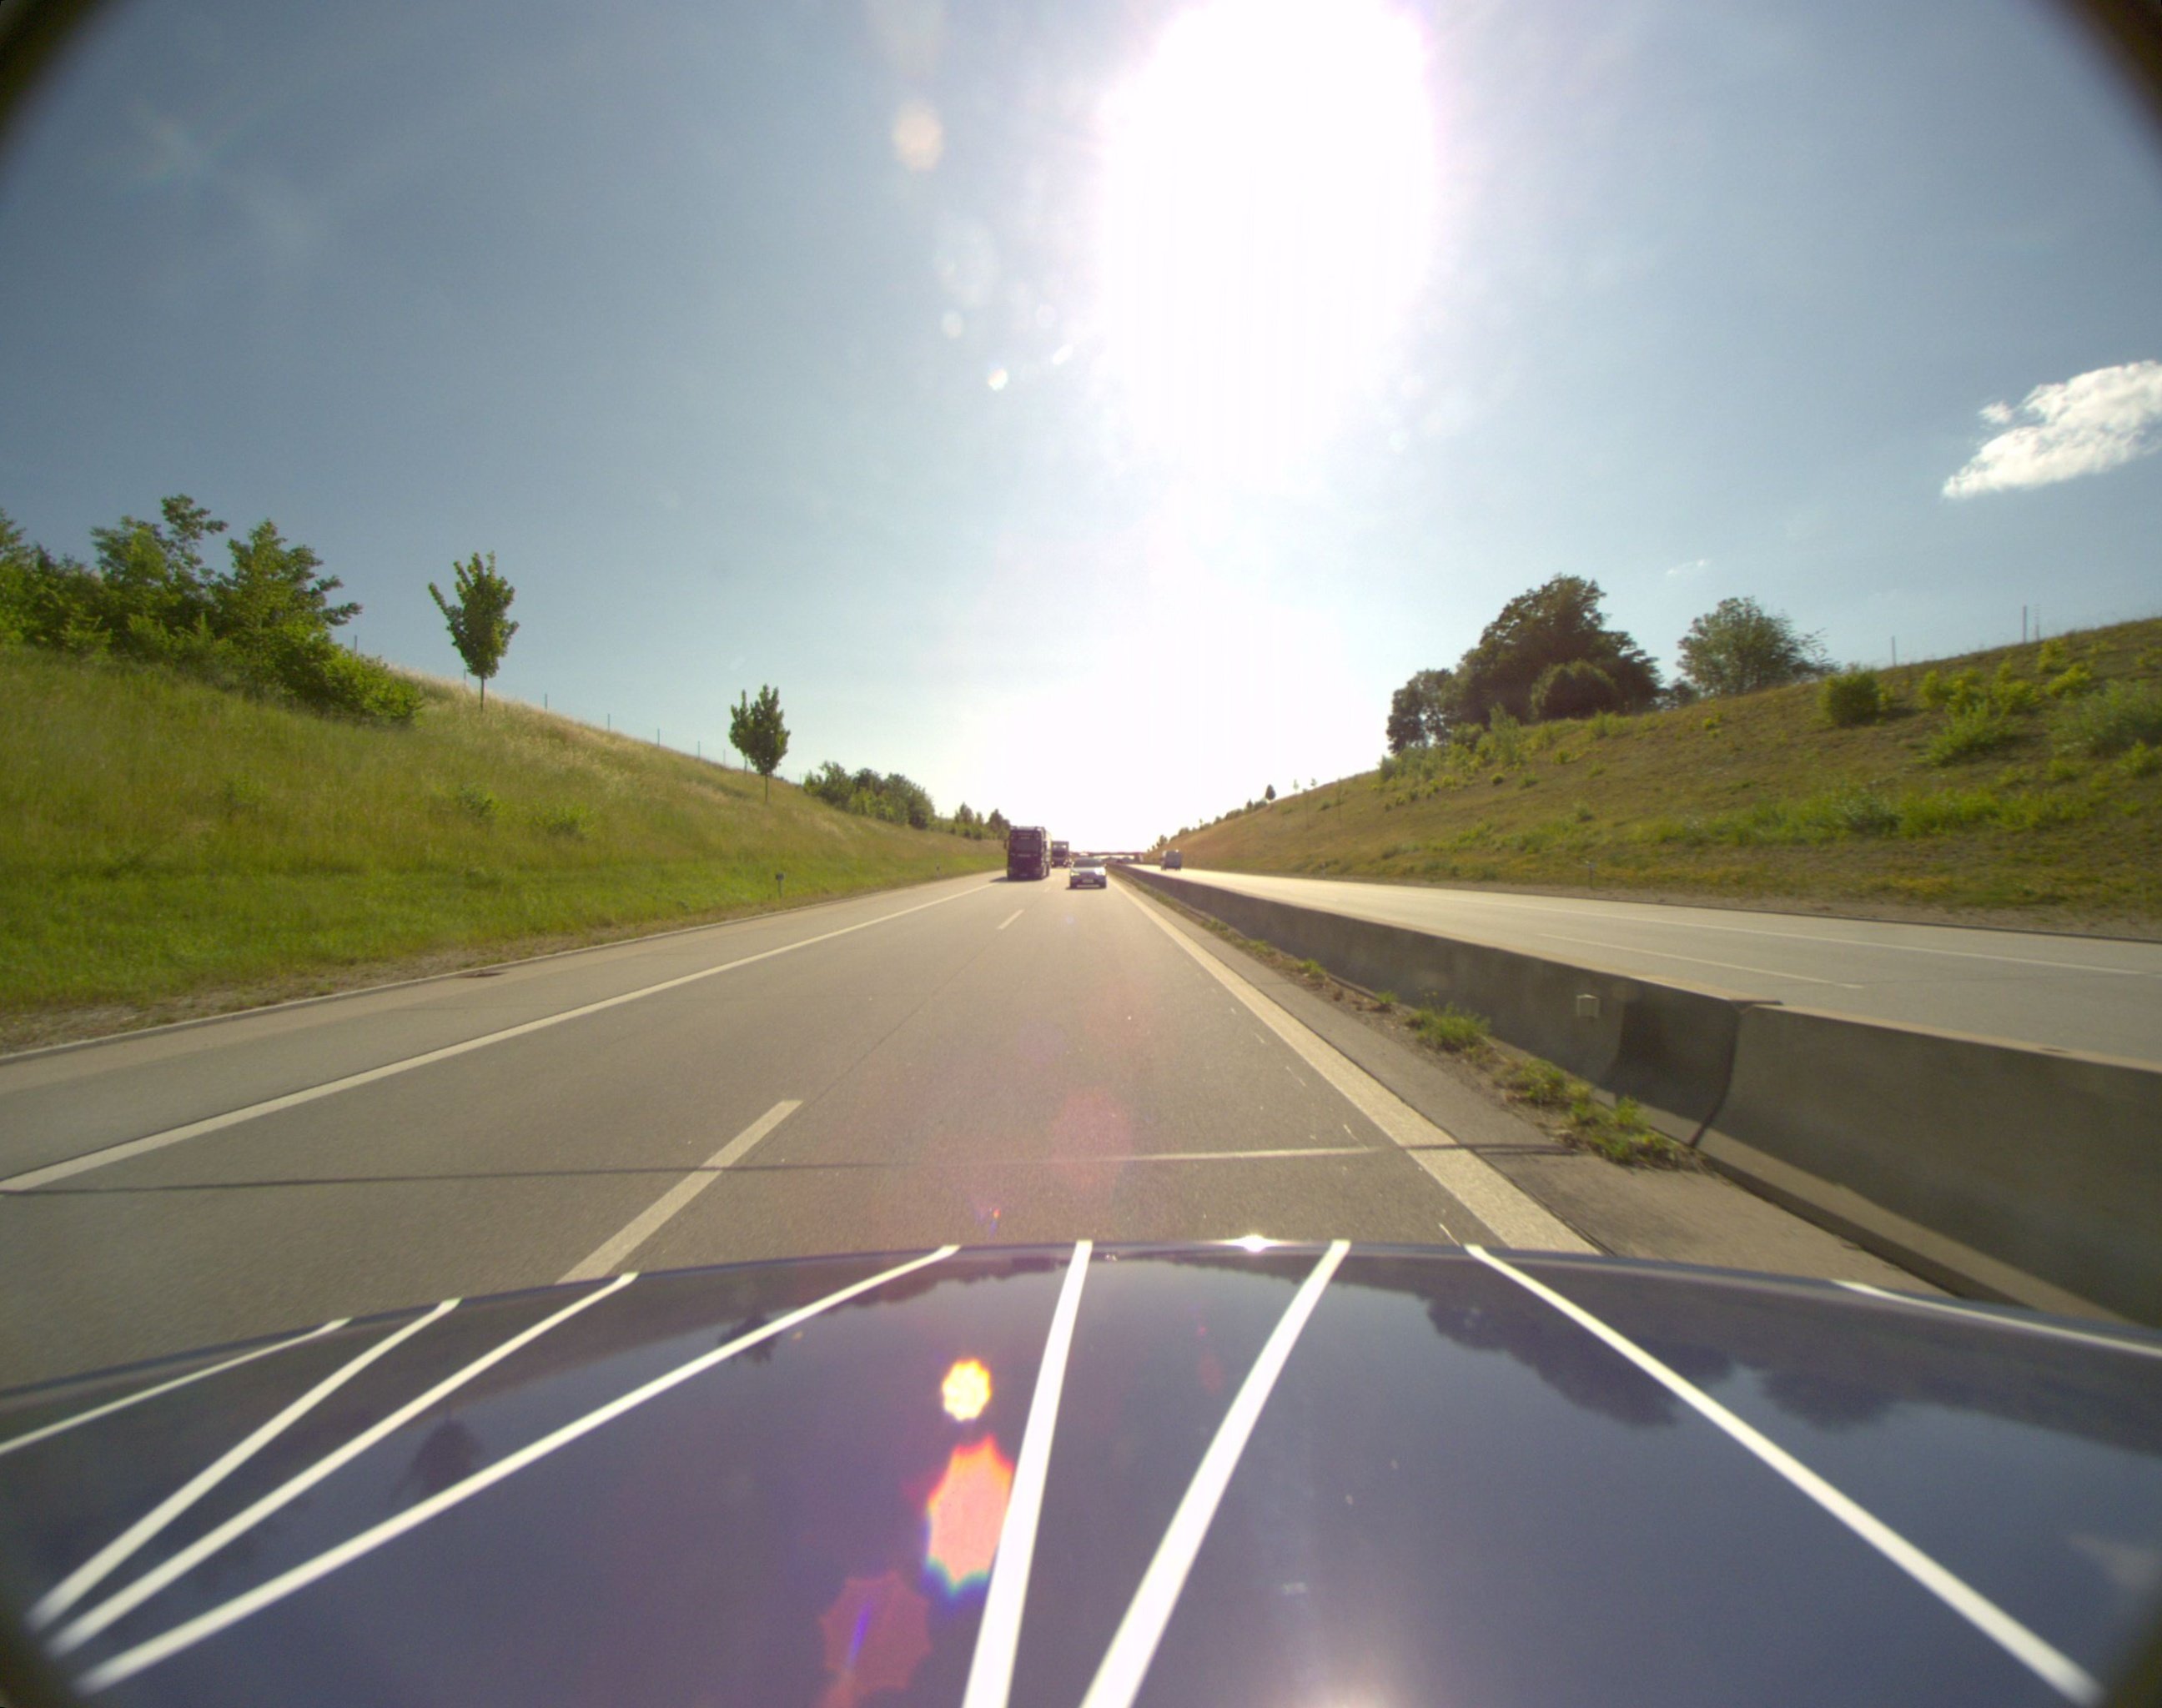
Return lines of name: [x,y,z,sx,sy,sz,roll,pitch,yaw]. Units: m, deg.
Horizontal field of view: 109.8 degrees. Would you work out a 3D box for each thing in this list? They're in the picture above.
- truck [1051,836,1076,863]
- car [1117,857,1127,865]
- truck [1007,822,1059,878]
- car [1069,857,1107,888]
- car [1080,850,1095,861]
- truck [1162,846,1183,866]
truck: [-2.532,-0.641,115.826,3.024,3.795,13.405,1,0,2]
car: [8.181,1.360,152.480,1.778,1.440,4.183,0,0,-1]
truck: [-3.467,-0.272,58.595,2.623,3.795,13.405,-2,0,2]
car: [0.413,0.908,39.243,1.795,1.501,3.636,-1,0,3]
car: [1.230,0.251,148.581,2.816,2.143,5.947,1,0,0]
truck: [11.425,0.250,95.128,1.998,2.434,5.668,-1,0,0]
